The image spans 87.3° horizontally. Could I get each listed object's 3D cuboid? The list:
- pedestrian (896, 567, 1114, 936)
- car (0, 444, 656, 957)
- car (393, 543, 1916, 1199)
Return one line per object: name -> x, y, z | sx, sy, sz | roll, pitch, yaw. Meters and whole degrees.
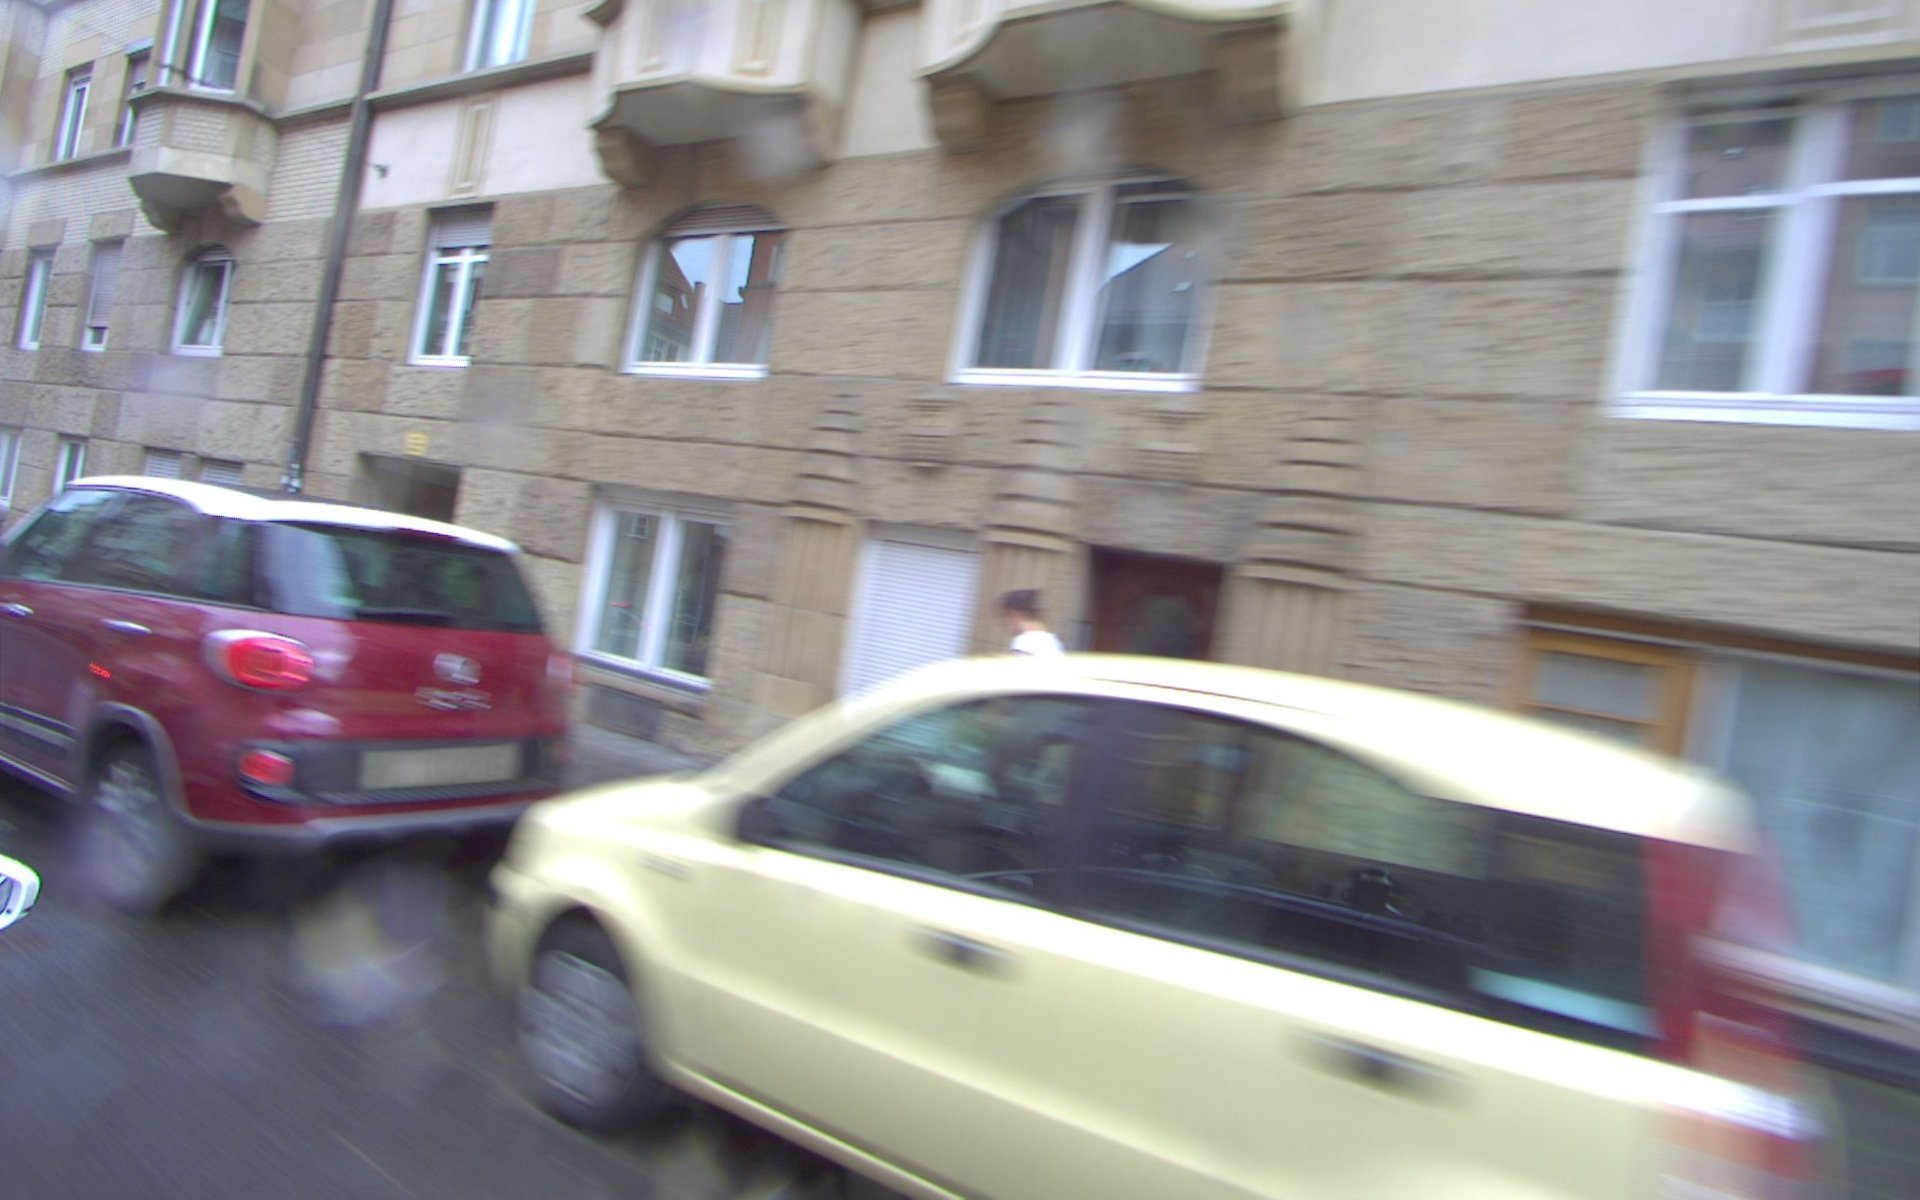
pedestrian -> 0.269, 0.783, 5.428 | 0.599, 1.752, 0.864 | 7, -2, 31
car -> -3.706, 0.263, 5.100 | 3.931, 1.646, 1.716 | 8, -3, 29
car -> 0.170, 0.846, 2.935 | 3.403, 1.494, 1.563 | 7, -3, 32
